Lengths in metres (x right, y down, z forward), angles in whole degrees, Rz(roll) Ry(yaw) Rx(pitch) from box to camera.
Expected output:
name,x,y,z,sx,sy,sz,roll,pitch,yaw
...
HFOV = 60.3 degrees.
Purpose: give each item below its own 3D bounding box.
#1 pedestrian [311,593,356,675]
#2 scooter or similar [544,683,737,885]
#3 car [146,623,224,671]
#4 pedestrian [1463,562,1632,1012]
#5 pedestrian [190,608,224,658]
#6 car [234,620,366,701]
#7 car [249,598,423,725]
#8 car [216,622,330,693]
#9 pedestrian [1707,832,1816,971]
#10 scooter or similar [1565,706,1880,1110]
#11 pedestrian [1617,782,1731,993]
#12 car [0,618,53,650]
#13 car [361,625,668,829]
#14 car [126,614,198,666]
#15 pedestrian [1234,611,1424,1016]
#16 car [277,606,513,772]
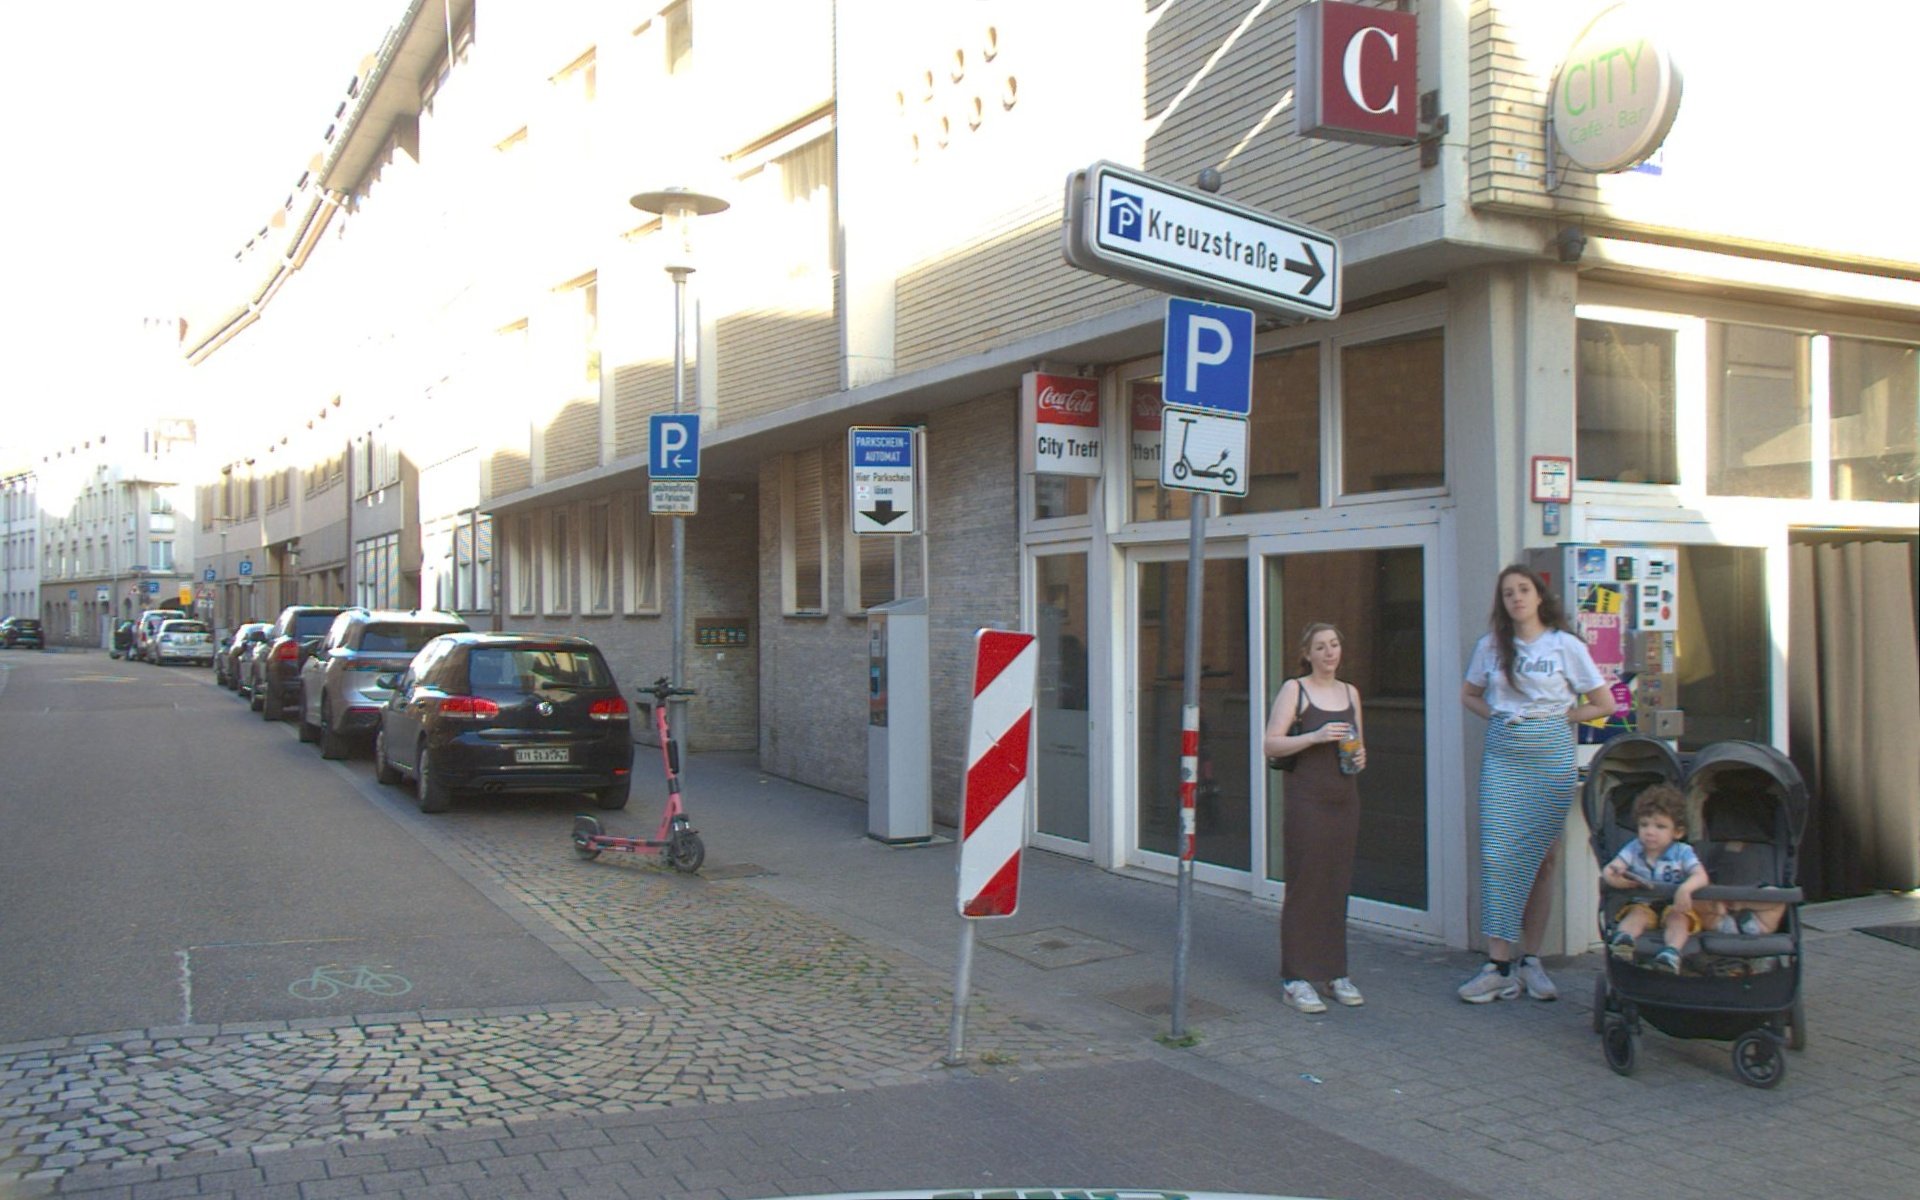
name,x,y,z,sx,sy,sz,roll,pitch,yaw
pedestrian,-13.810,0.741,36.438,0.780,1.751,0.739,-2,0,-28
scooter or similar,-2.113,1.175,10.890,1.280,1.215,0.492,-1,-1,35
car,-25.956,1.562,55.347,1.823,1.504,4.120,3,-2,-33
pedestrian,2.429,0.739,6.896,0.611,1.767,0.623,-1,-1,16
pedestrian,-28.162,1.228,61.832,1.032,1.833,1.185,0,-2,-33
car,-12.803,1.130,31.915,1.787,1.437,4.744,2,-2,-29
car,-10.064,0.921,26.435,2.078,1.817,5.007,1,-1,-27
car,-15.534,1.259,37.234,1.872,1.478,5.176,2,-1,-28
pedestrian,2.778,1.034,5.729,0.325,0.405,0.312,-1,-1,28
scooter or similar,2.668,1.027,5.913,0.850,1.197,1.046,0,1,15
pedestrian,2.524,0.995,5.835,0.325,0.644,0.508,-1,-1,28
car,-50.490,1.832,89.233,1.956,1.722,4.042,2,-2,-40
car,-4.229,1.045,15.146,1.801,1.531,4.559,3,-2,-27
car,-29.291,1.472,60.618,1.813,1.822,5.155,1,-2,-32
pedestrian,1.512,0.844,6.813,0.563,1.567,0.439,-3,0,-19
car,-6.885,0.987,19.813,1.970,1.732,4.800,2,-2,-27
